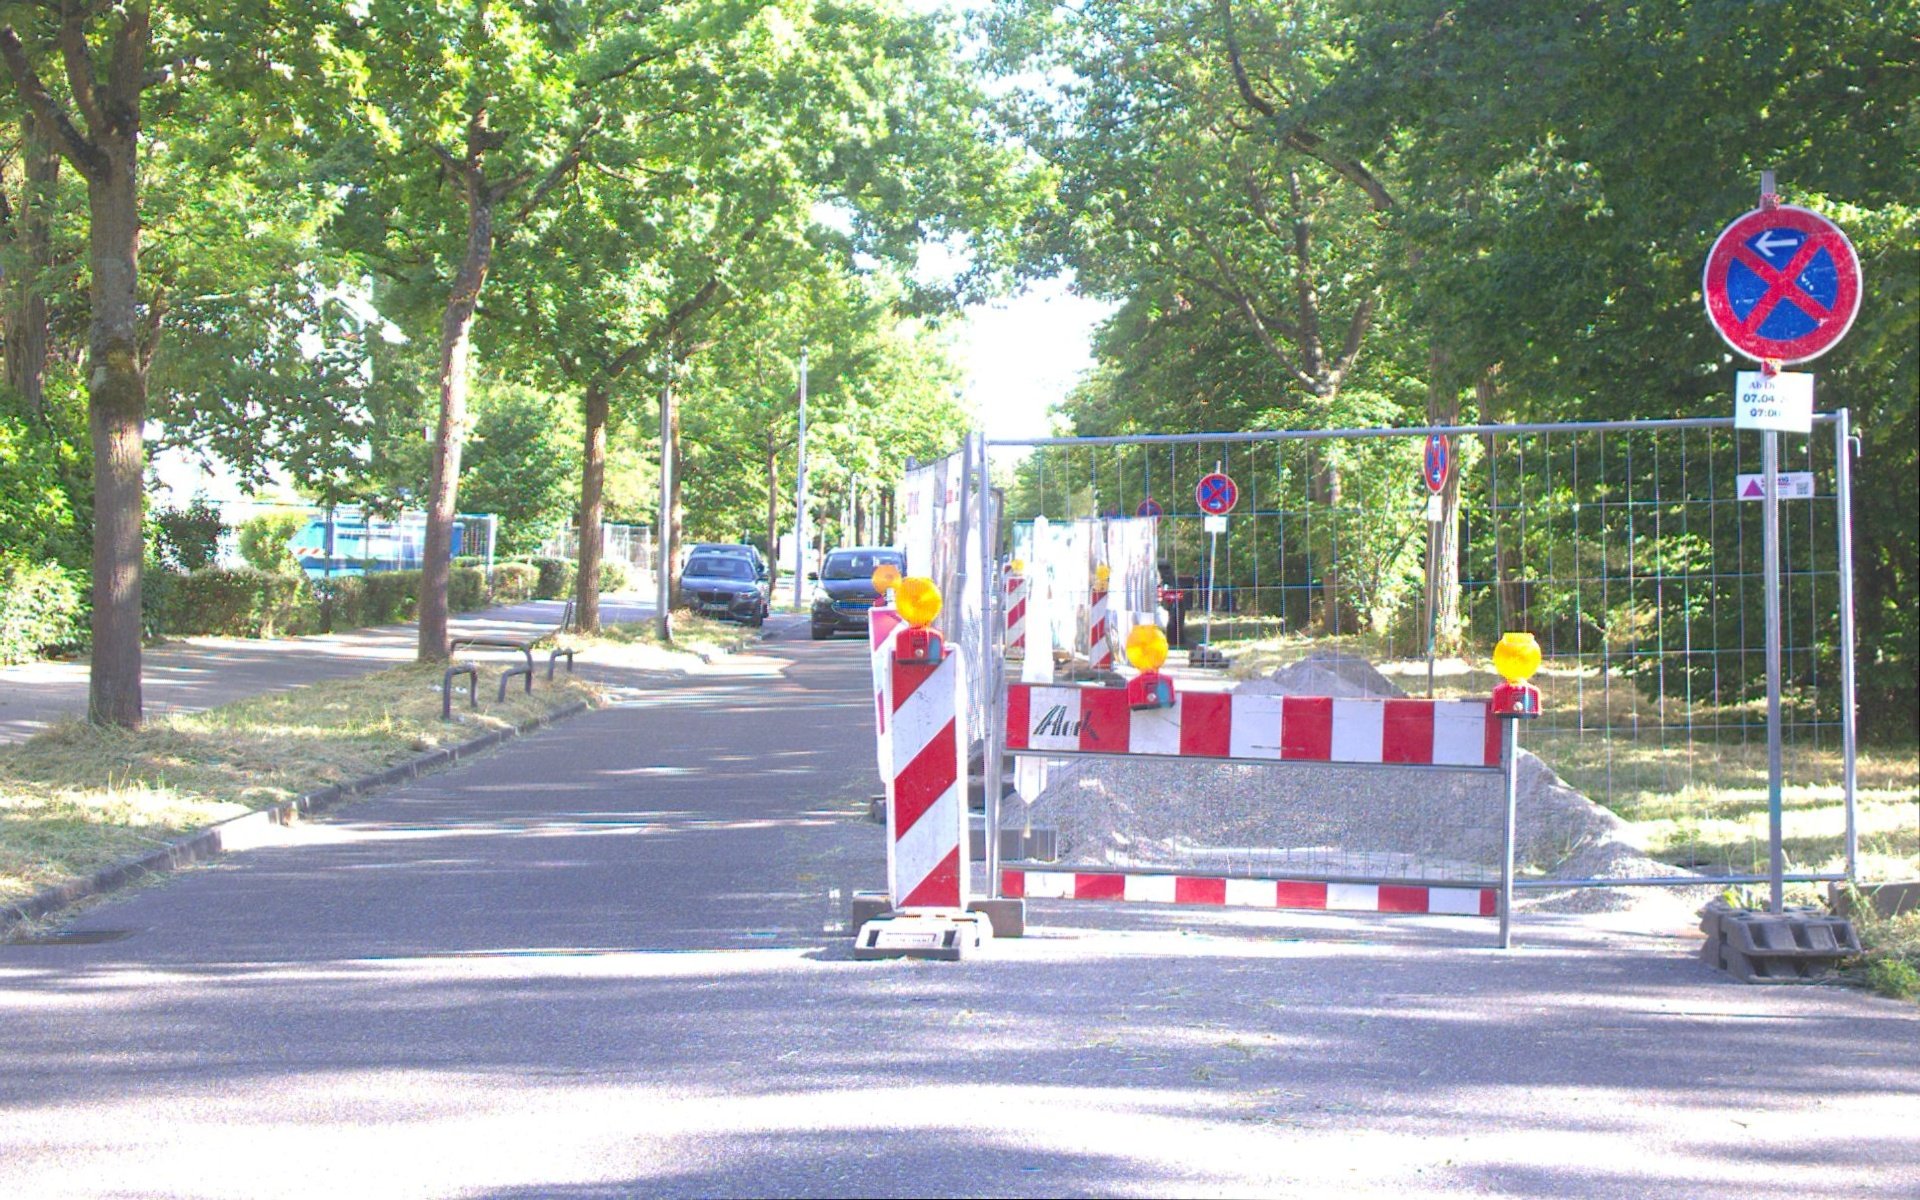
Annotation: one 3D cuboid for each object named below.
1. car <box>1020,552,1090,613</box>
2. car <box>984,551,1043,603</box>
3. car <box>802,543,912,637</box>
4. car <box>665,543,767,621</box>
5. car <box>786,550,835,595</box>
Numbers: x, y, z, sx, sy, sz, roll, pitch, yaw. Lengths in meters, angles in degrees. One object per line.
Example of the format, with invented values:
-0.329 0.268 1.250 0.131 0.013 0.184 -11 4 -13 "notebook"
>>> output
2.130 -0.398 77.608 1.361 1.298 3.481 2 0 -2 "car"
1.386 -0.588 90.589 1.361 1.298 3.481 2 0 -2 "car"
-1.846 -0.209 62.941 1.821 1.619 4.492 -1 1 1 "car"
-4.781 -0.375 67.869 1.751 1.473 3.836 1 1 -1 "car"
-4.478 -0.818 103.237 1.361 1.298 3.481 2 0 -2 "car"
